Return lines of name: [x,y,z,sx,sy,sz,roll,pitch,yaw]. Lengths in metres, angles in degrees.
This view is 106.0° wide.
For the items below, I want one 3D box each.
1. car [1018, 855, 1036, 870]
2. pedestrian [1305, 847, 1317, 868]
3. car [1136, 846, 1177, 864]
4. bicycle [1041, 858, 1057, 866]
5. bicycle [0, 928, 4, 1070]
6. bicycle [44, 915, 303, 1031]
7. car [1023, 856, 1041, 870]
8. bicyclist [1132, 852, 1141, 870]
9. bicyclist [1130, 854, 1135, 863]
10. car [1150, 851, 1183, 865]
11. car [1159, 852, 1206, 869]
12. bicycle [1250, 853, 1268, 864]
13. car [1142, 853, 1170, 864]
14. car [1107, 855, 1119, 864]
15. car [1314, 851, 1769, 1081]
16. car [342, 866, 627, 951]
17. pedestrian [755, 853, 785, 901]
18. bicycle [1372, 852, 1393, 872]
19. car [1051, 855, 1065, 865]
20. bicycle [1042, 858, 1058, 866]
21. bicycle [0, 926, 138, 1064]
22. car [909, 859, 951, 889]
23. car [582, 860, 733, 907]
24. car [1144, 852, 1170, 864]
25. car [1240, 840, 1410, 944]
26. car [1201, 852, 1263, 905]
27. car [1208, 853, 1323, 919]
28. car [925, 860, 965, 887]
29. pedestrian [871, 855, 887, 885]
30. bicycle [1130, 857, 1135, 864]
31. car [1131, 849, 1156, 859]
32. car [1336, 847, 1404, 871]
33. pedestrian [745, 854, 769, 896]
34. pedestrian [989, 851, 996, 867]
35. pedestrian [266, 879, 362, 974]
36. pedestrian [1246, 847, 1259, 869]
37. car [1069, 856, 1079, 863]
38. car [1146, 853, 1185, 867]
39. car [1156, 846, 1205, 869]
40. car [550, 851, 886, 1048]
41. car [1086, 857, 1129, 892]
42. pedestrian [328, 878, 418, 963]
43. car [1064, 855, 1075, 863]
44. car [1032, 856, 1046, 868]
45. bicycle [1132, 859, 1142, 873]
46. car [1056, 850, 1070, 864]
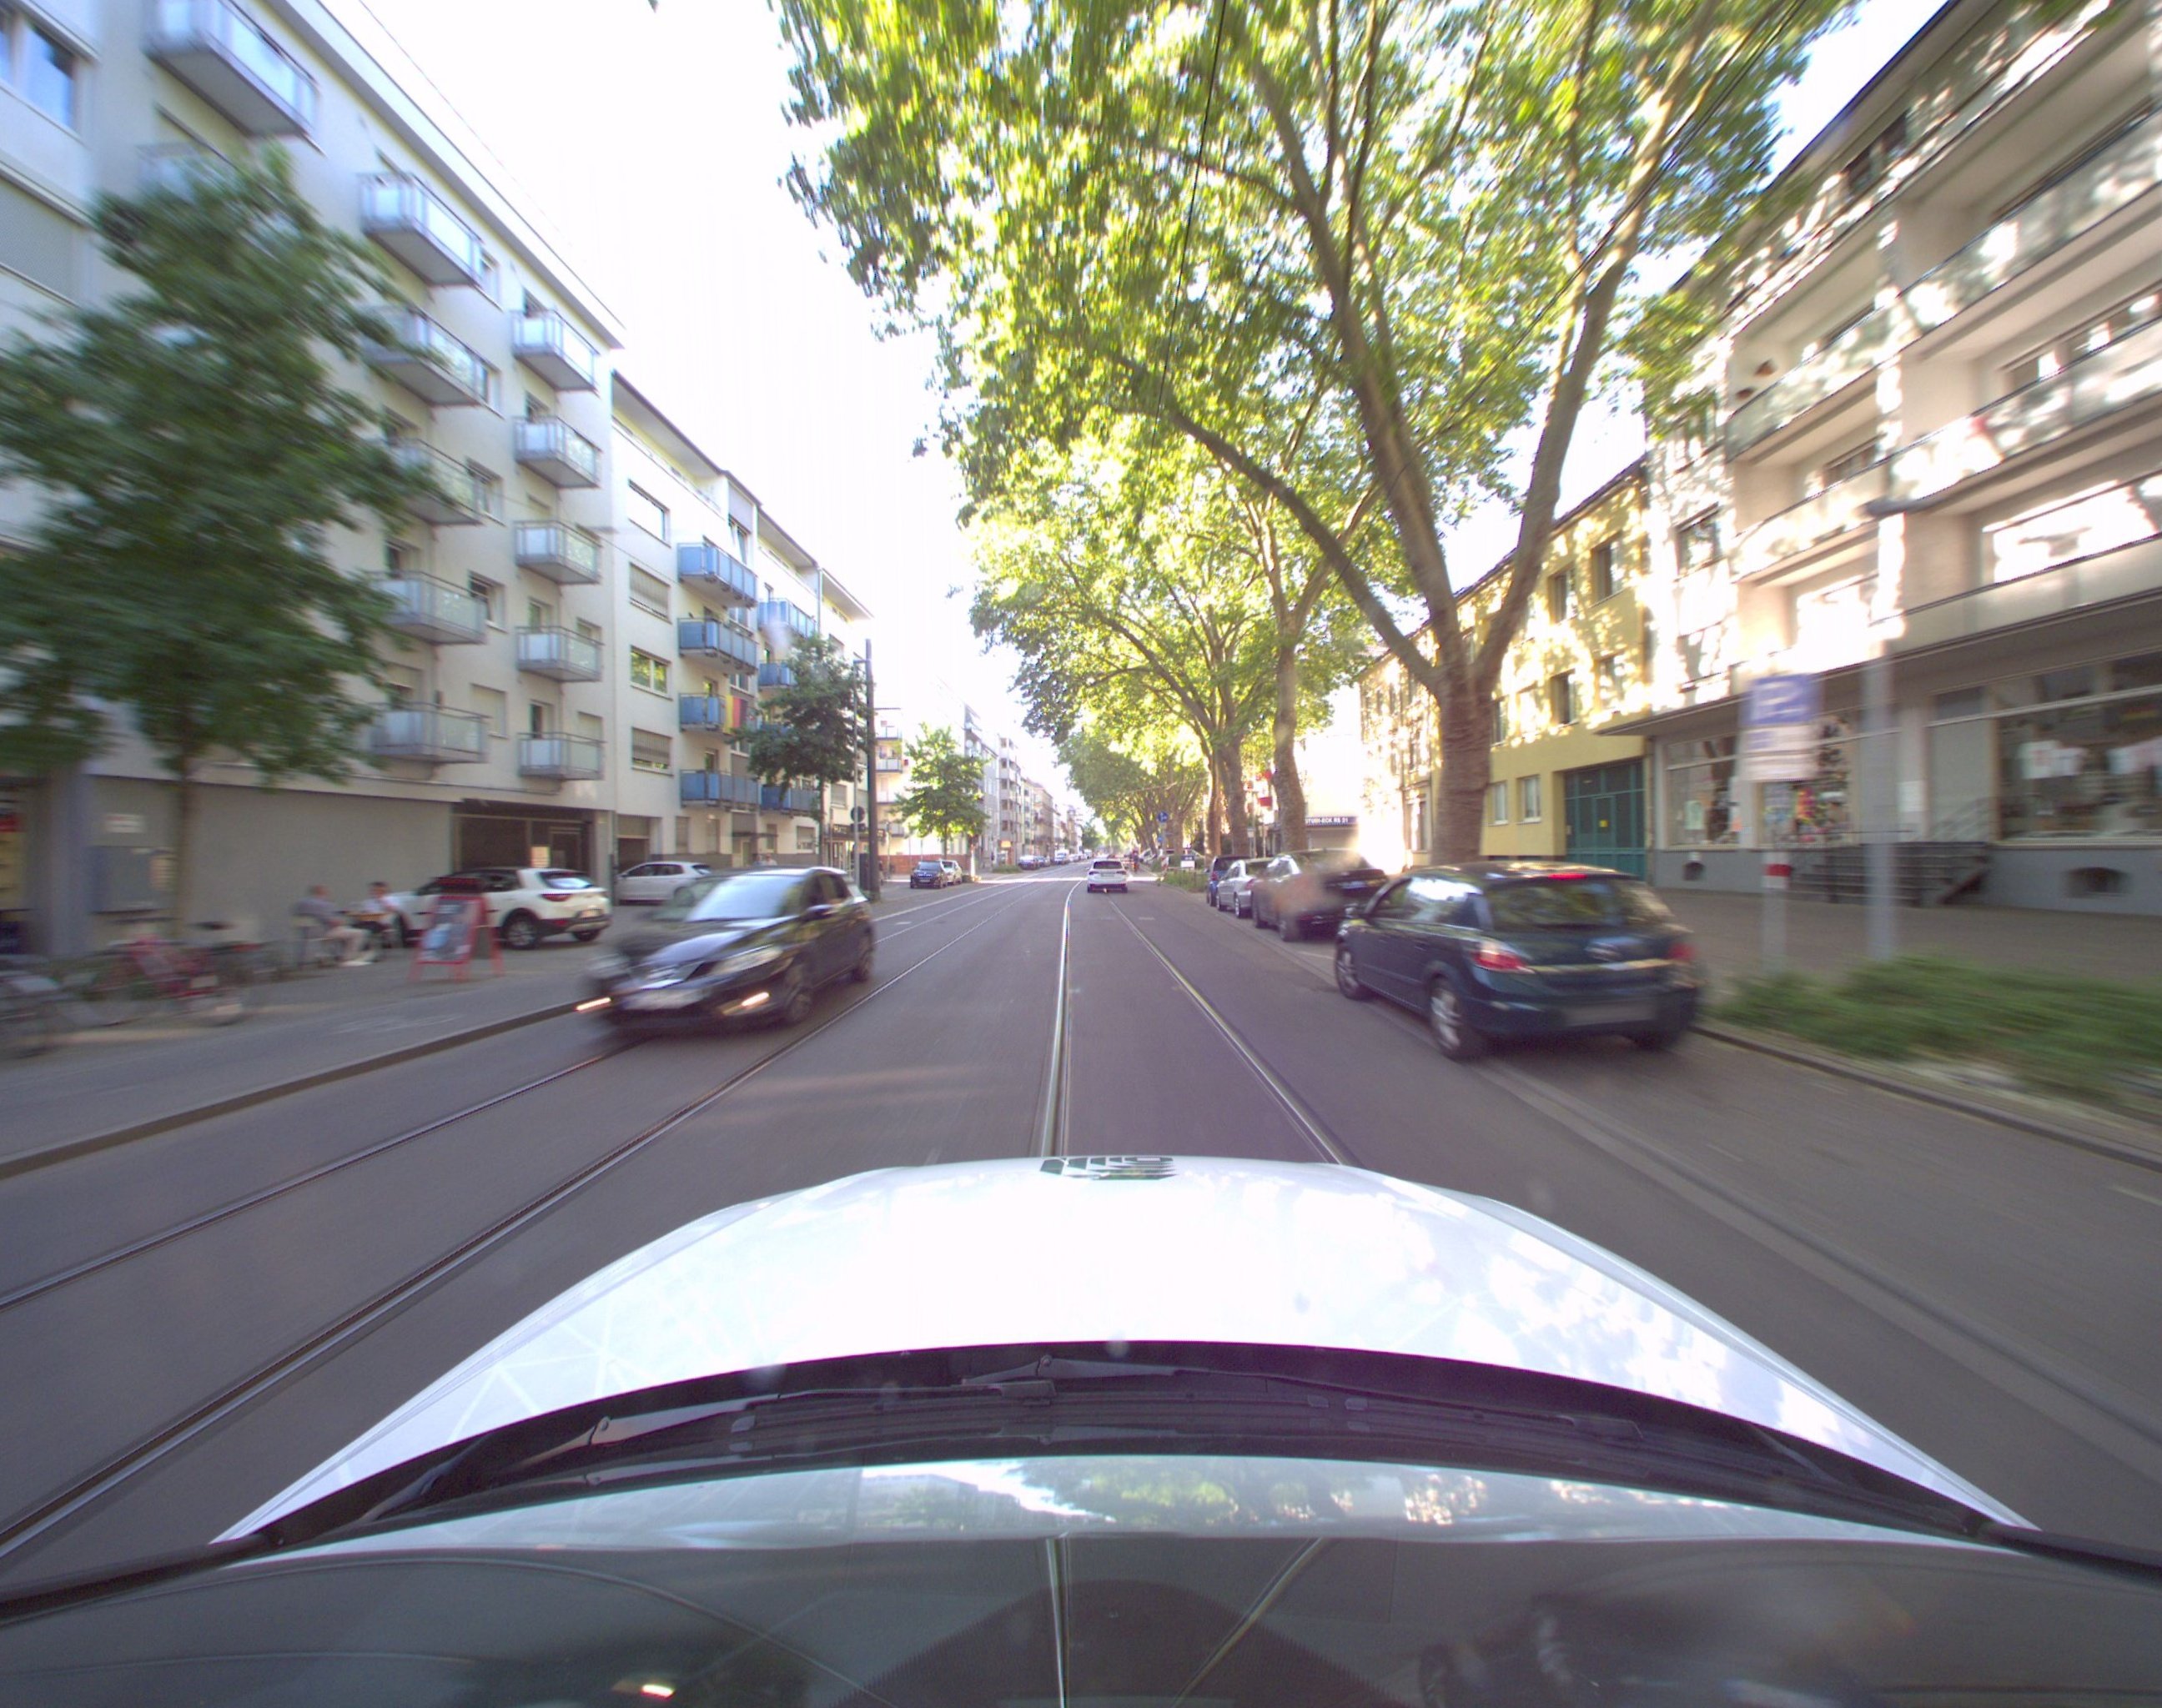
car: [-6.138,0.965,92.548,1.696,1.650,4.242,1,0,1]
pedestrian: [18.376,0.276,65.028,0.743,1.644,0.666,-1,0,4]
car: [11.736,0.121,127.041,6.109,2.635,2.529,-1,0,0]
bicycle: [-4.929,1.180,125.464,2.544,1.172,0.873,2,-2,-37]
bicycle: [-8.990,1.088,5.736,1.824,1.064,0.657,0,-1,-3]
bicycle: [-8.736,1.127,7.895,1.687,1.007,0.657,0,-1,-3]
car: [-5.822,1.043,97.669,1.695,1.544,4.244,1,0,3]
bicyclist: [4.395,0.559,64.212,0.675,1.443,1.048,-2,0,3]
bicyclist: [8.014,0.653,127.504,0.647,1.344,0.934,-2,0,1]
car: [10.757,0.514,102.177,3.972,1.680,1.724,-1,0,1]
car: [9.621,0.638,77.480,4.281,1.479,1.831,-1,0,1]
bicycle: [19.037,0.496,87.139,1.786,1.041,0.617,-3,0,-2]
car: [11.376,0.661,124.215,4.040,1.540,1.998,-1,0,-4]
car: [5.222,0.877,132.399,1.754,1.475,4.003,-2,0,3]
car: [3.619,0.736,7.452,1.857,1.437,4.228,-2,0,2]
car: [-11.019,0.970,15.256,3.996,1.475,1.853,0,-1,3]
pedestrian: [-11.355,0.828,29.724,0.761,1.691,0.795,-1,0,1]
bicycle: [17.921,0.474,48.437,0.580,1.104,1.923,-3,0,2]
car: [-3.845,1.007,137.473,1.985,1.530,4.003,-1,0,3]
bicycle: [-4.825,1.184,126.344,2.520,1.172,0.718,1,-2,-4]
bicycle: [-8.933,1.116,6.554,1.824,1.007,0.657,0,-1,-3]
car: [-8.003,1.030,43.482,1.710,1.464,3.994,2,0,-4]
car: [-13.937,0.943,26.969,4.000,1.475,1.851,0,-1,0]
car: [10.662,0.575,114.808,3.617,1.666,1.824,-1,0,4]
car: [4.411,0.645,15.586,1.851,1.603,4.783,-3,-1,1]
car: [4.686,0.742,25.580,1.556,1.519,2.914,-3,-1,5]
car: [4.611,0.773,21.039,1.811,1.436,4.601,-3,-1,-1]
car: [-7.985,1.092,48.145,1.708,1.464,4.374,2,0,-1]
pedestrian: [-11.289,0.895,45.544,0.661,1.691,0.749,-1,0,1]
bicycle: [8.028,0.978,127.489,0.647,1.071,1.583,-2,0,1]
car: [15.861,-0.041,205.692,6.109,2.282,2.529,-1,0,0]
car: [20.561,0.337,58.131,4.121,1.593,1.998,-1,0,-3]
pedestrian: [-13.284,0.836,33.426,0.661,1.691,0.749,-1,0,1]
pedestrian: [-9.908,0.579,91.184,0.661,1.826,0.965,-1,0,1]
pedestrian: [-11.288,1.043,12.009,0.712,1.297,0.744,-2,0,-12]
pedestrian: [15.118,0.365,71.777,0.764,1.866,1.188,-2,0,-1]
car: [-1.582,1.200,183.466,1.985,1.530,4.003,-1,0,3]
car: [9.464,0.677,91.293,4.128,1.514,1.932,-1,0,1]
car: [9.722,0.318,80.059,4.529,2.076,2.000,-1,0,0]
car: [-3.544,0.789,8.926,1.866,1.590,4.144,-2,0,-2]
car: [1.137,0.846,35.539,1.755,1.384,4.001,-2,0,1]
pedestrian: [-11.500,1.056,13.258,0.712,1.297,0.908,-2,0,-12]
car: [-2.349,1.080,169.514,1.985,1.530,4.003,-1,0,3]
car: [-5.555,1.070,108.461,1.648,1.437,3.837,-1,0,1]
bicycle: [4.403,0.940,64.126,0.678,1.071,1.782,-2,0,3]
car: [-3.245,0.525,149.194,2.170,2.597,4.952,-1,0,3]
